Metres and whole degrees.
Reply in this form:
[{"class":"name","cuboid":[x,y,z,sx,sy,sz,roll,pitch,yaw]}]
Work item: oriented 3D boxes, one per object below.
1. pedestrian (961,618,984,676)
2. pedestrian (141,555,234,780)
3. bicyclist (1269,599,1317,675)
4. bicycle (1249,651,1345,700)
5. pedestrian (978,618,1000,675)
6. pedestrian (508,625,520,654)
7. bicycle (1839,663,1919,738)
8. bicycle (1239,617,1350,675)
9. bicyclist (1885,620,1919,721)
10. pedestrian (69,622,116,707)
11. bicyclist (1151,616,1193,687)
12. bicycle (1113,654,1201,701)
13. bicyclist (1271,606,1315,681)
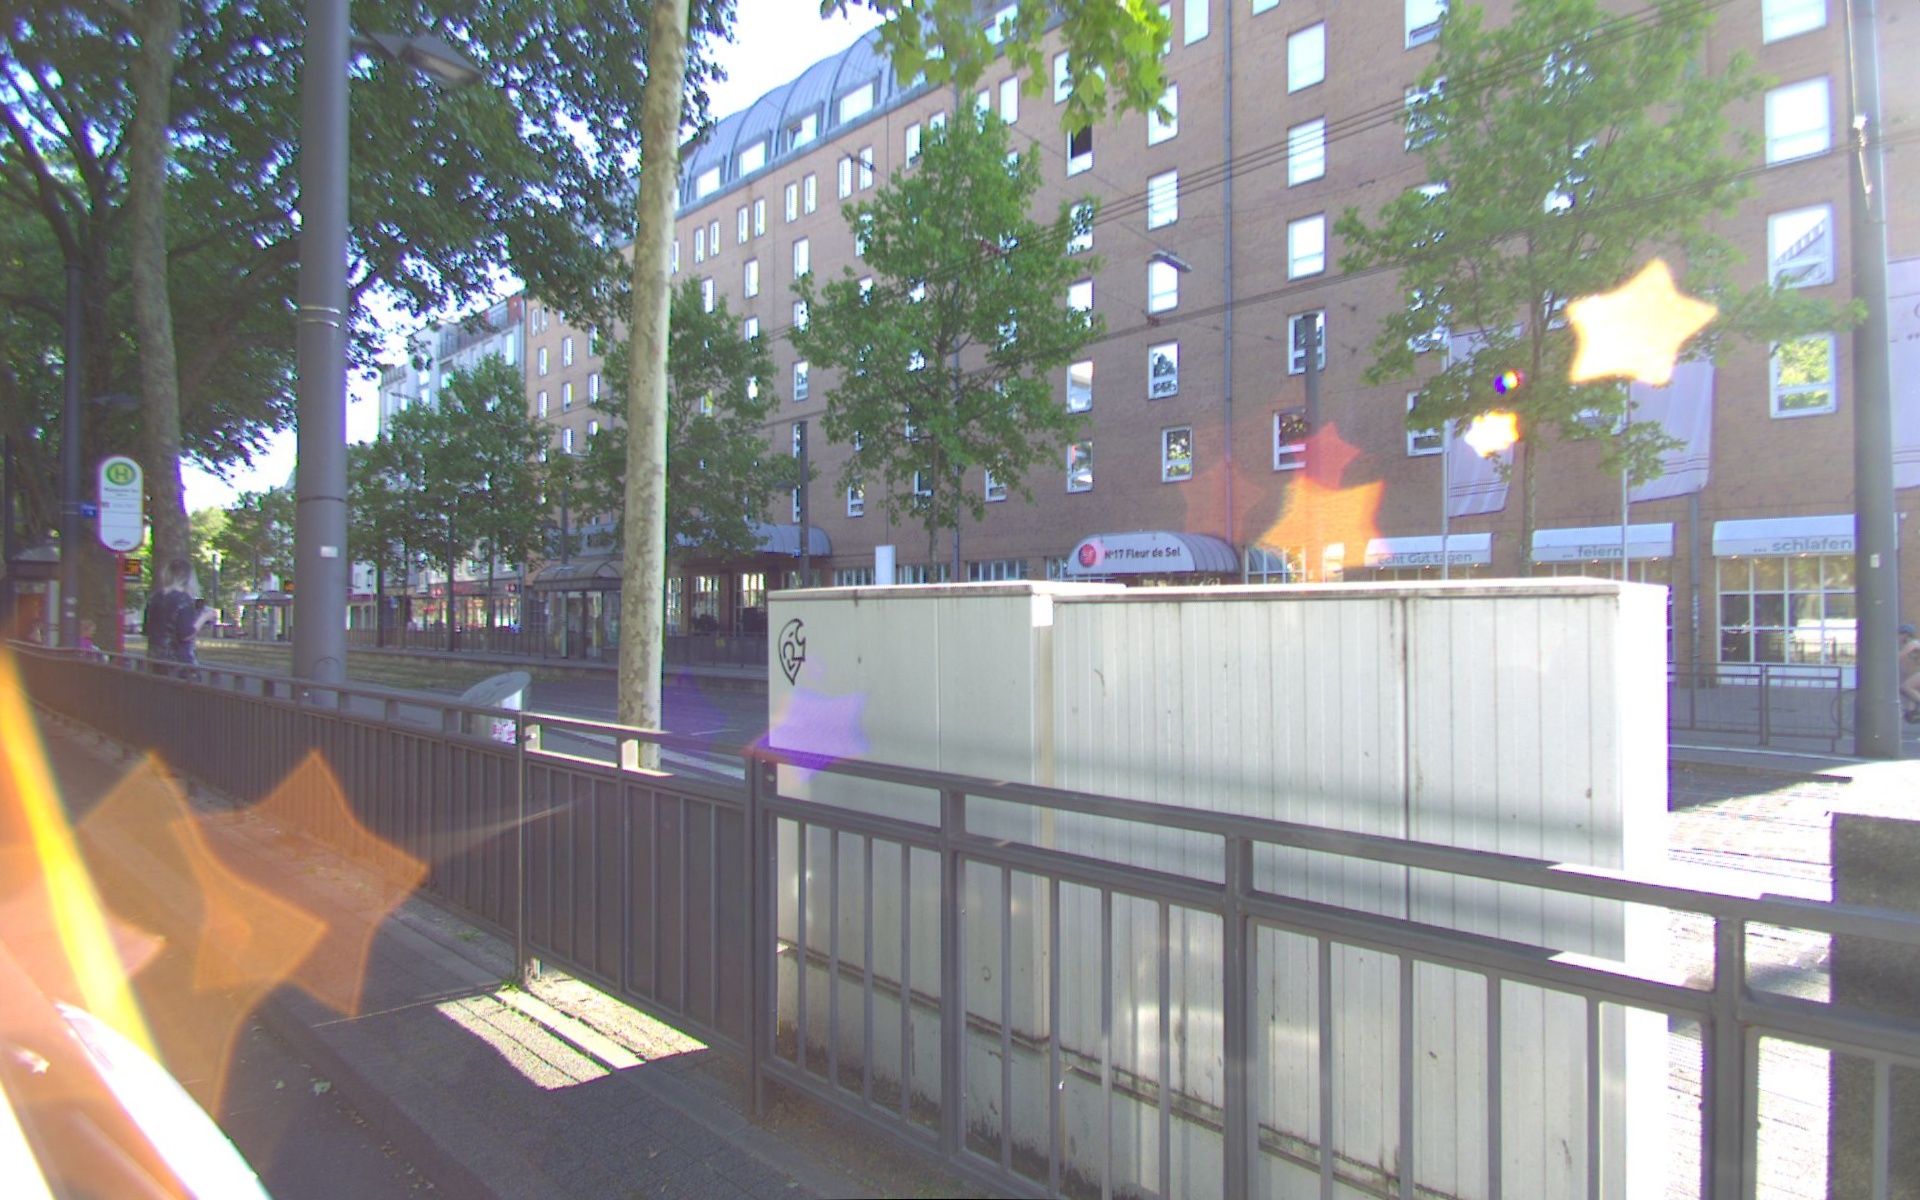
[{"class":"pedestrian","cuboid":[0.380,1.437,31.032,0.472,1.748,0.545,1,-2,-42]},{"class":"pedestrian","cuboid":[-6.624,0.553,8.678,0.524,1.848,0.536,-1,0,43]},{"class":"bicyclist","cuboid":[7.048,0.794,21.432,0.756,1.572,0.676,-4,-4,33]},{"class":"bicycle","cuboid":[7.341,1.628,22.090,1.897,1.006,0.647,-1,-2,34]},{"class":"pedestrian","cuboid":[0.890,1.425,31.449,0.437,1.748,0.545,1,-2,-42]},{"class":"pedestrian","cuboid":[-26.878,2.391,60.994,0.574,1.748,0.497,-2,-2,43]},{"class":"bicycle","cuboid":[14.586,1.524,15.205,2.009,1.058,0.646,-1,-1,37]},{"class":"bicycle","cuboid":[7.060,0.992,21.421,2.105,1.151,0.679,-4,-4,34]},{"class":"bicyclist","cuboid":[14.633,1.049,15.170,1.031,1.485,0.647,-1,-1,36]},{"class":"pedestrian","cuboid":[-14.014,1.024,16.362,0.534,1.327,0.525,-1,0,-37]},{"class":"bicyclist","cuboid":[4.870,1.172,23.279,0.756,1.581,0.655,-1,-2,34]},{"class":"bicycle","cuboid":[4.560,1.787,23.484,1.897,1.006,0.688,-1,-2,34]},{"class":"bicyclist","cuboid":[7.281,0.941,22.134,0.756,1.586,0.655,-1,-2,34]}]
